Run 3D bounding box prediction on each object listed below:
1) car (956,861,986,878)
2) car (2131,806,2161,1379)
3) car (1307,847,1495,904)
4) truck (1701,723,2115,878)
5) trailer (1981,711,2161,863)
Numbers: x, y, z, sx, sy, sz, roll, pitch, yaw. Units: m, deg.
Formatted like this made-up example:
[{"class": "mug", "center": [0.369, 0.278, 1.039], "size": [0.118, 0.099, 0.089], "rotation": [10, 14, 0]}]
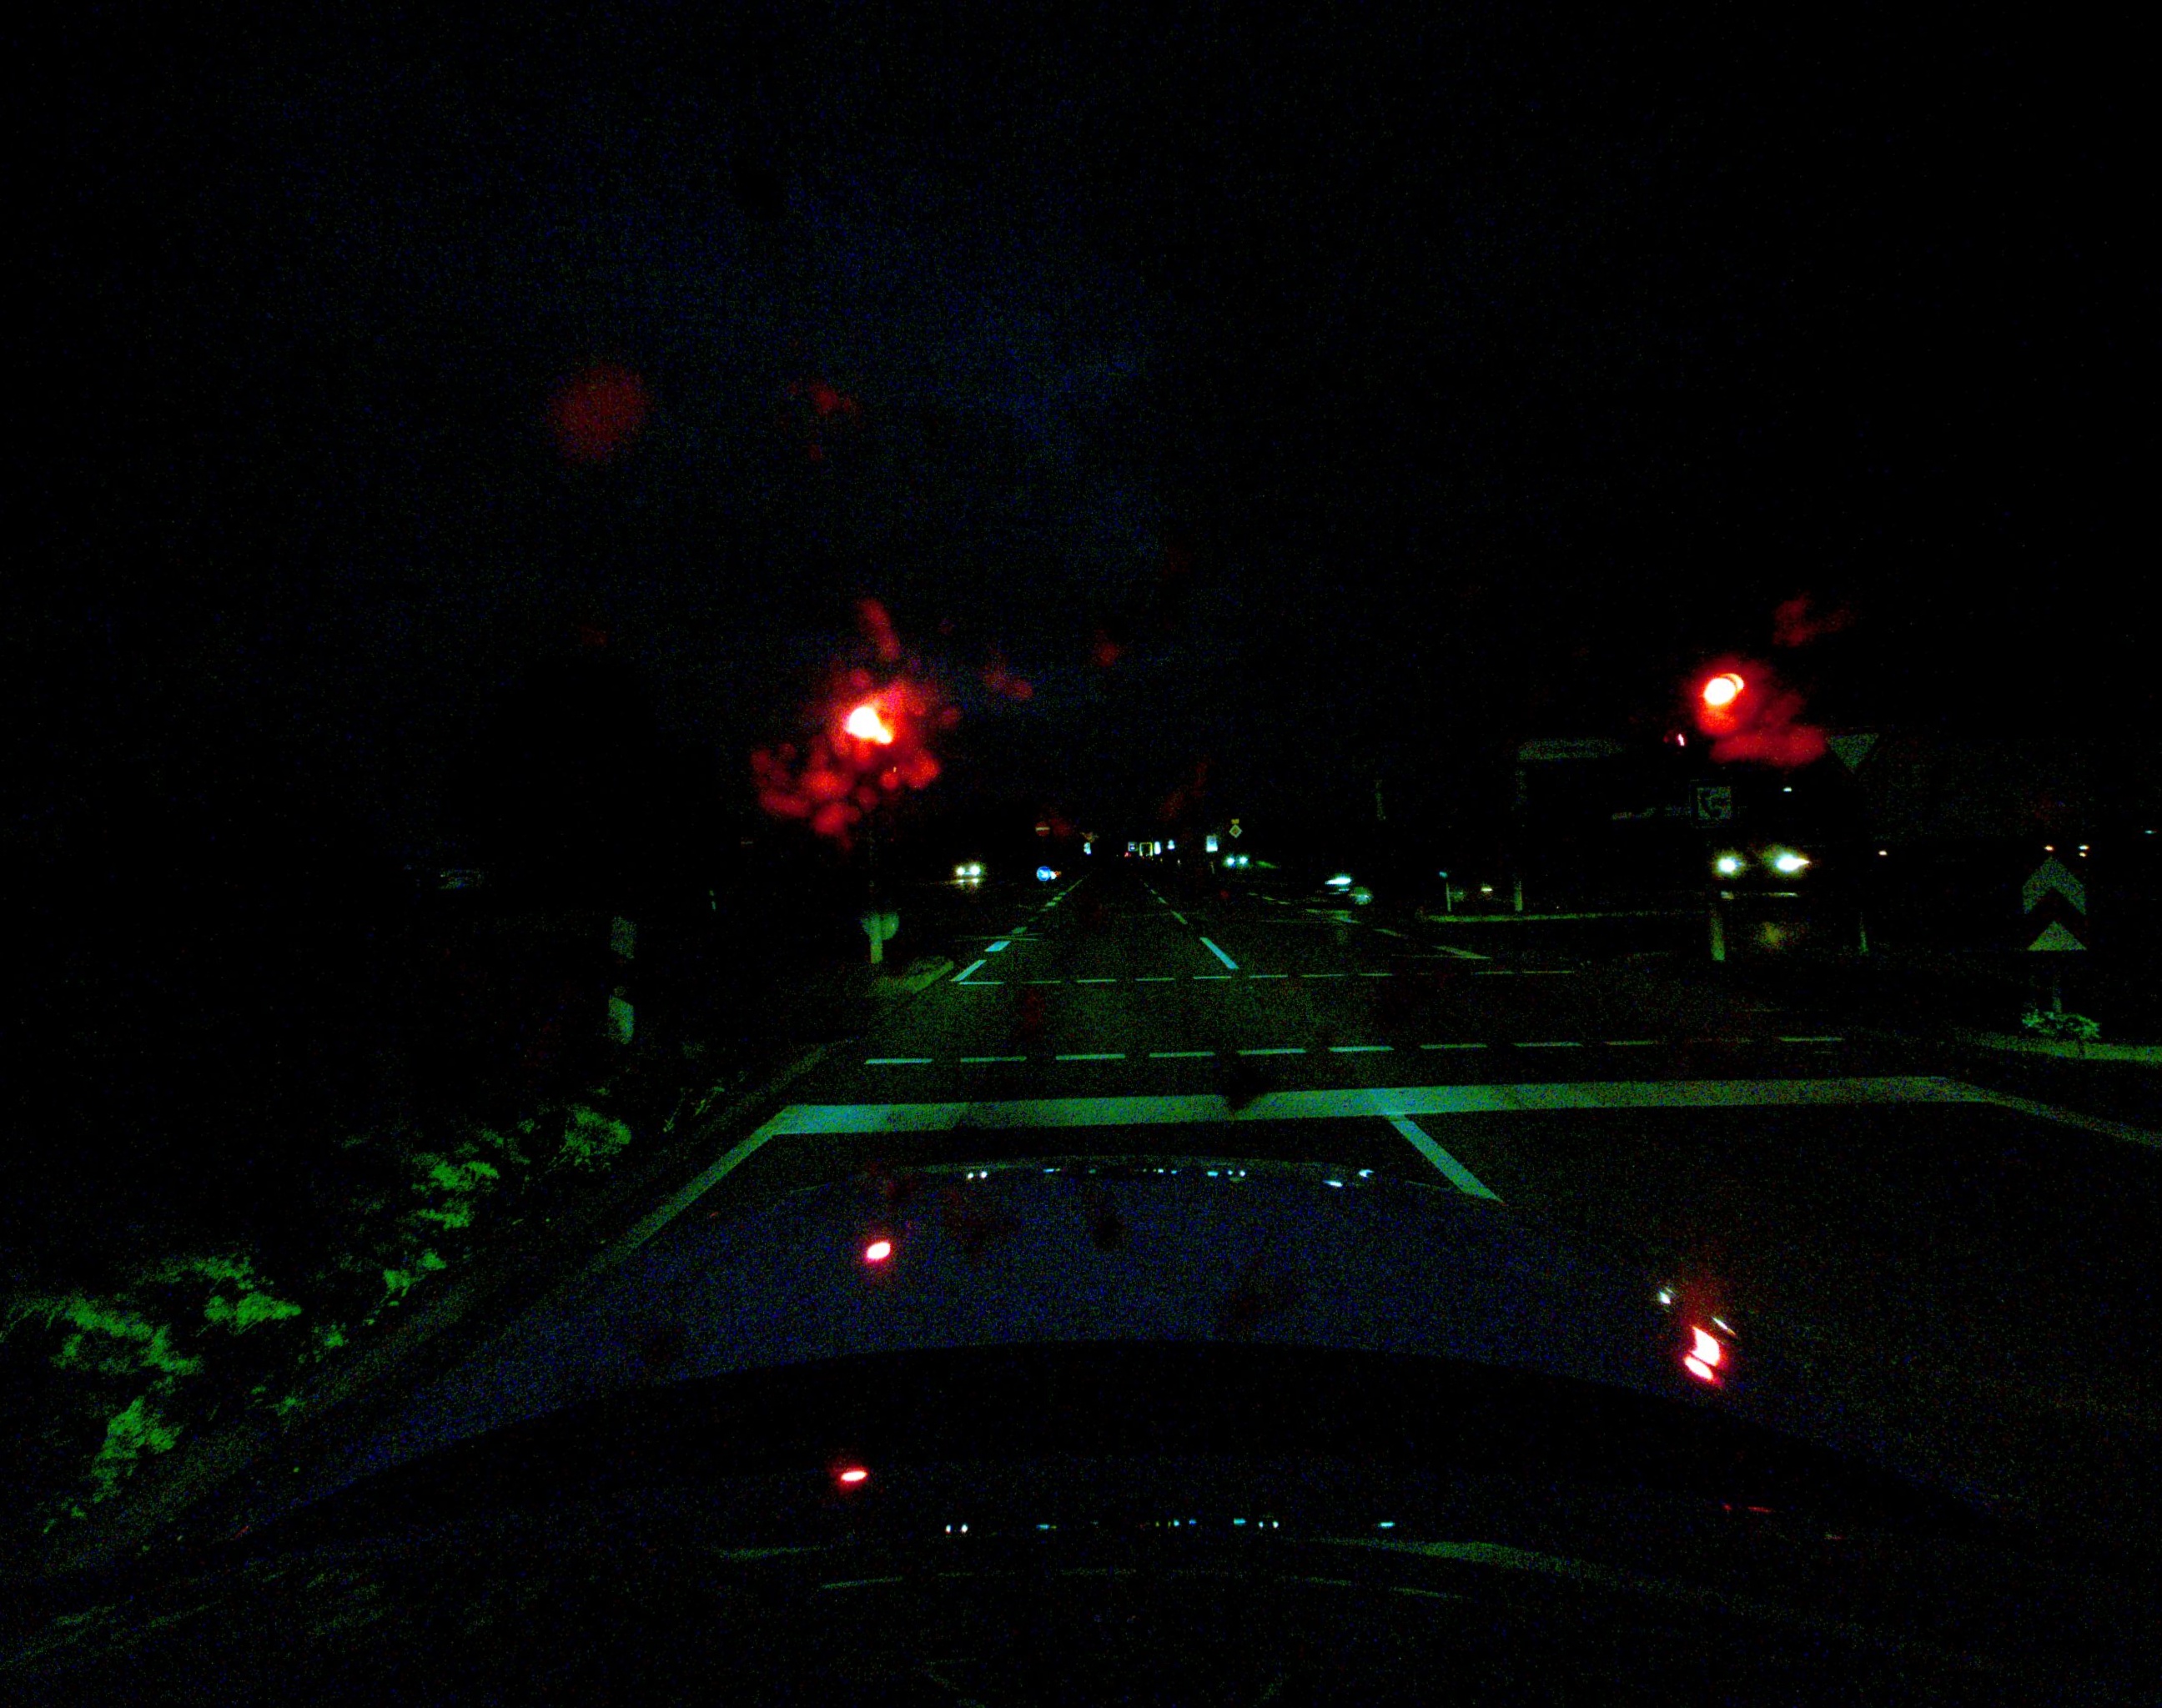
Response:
[{"class": "car", "center": [-9.988, 1.428, 74.055], "size": [1.986, 1.387, 4.002], "rotation": [-2, 0, 2]}, {"class": "car", "center": [3.572, 0.620, 0.117], "size": [1.663, 1.520, 4.109], "rotation": [-1, 0, 3]}, {"class": "car", "center": [8.986, 0.576, 23.145], "size": [4.588, 1.520, 1.999], "rotation": [-1, 0, -2]}, {"class": "truck", "center": [24.194, -1.523, 24.057], "size": [10.027, 3.979, 2.919], "rotation": [-2, 0, -6]}, {"class": "trailer", "center": [33.522, -2.070, 25.270], "size": [9.040, 4.302, 2.916], "rotation": [-2, 0, -9]}]
